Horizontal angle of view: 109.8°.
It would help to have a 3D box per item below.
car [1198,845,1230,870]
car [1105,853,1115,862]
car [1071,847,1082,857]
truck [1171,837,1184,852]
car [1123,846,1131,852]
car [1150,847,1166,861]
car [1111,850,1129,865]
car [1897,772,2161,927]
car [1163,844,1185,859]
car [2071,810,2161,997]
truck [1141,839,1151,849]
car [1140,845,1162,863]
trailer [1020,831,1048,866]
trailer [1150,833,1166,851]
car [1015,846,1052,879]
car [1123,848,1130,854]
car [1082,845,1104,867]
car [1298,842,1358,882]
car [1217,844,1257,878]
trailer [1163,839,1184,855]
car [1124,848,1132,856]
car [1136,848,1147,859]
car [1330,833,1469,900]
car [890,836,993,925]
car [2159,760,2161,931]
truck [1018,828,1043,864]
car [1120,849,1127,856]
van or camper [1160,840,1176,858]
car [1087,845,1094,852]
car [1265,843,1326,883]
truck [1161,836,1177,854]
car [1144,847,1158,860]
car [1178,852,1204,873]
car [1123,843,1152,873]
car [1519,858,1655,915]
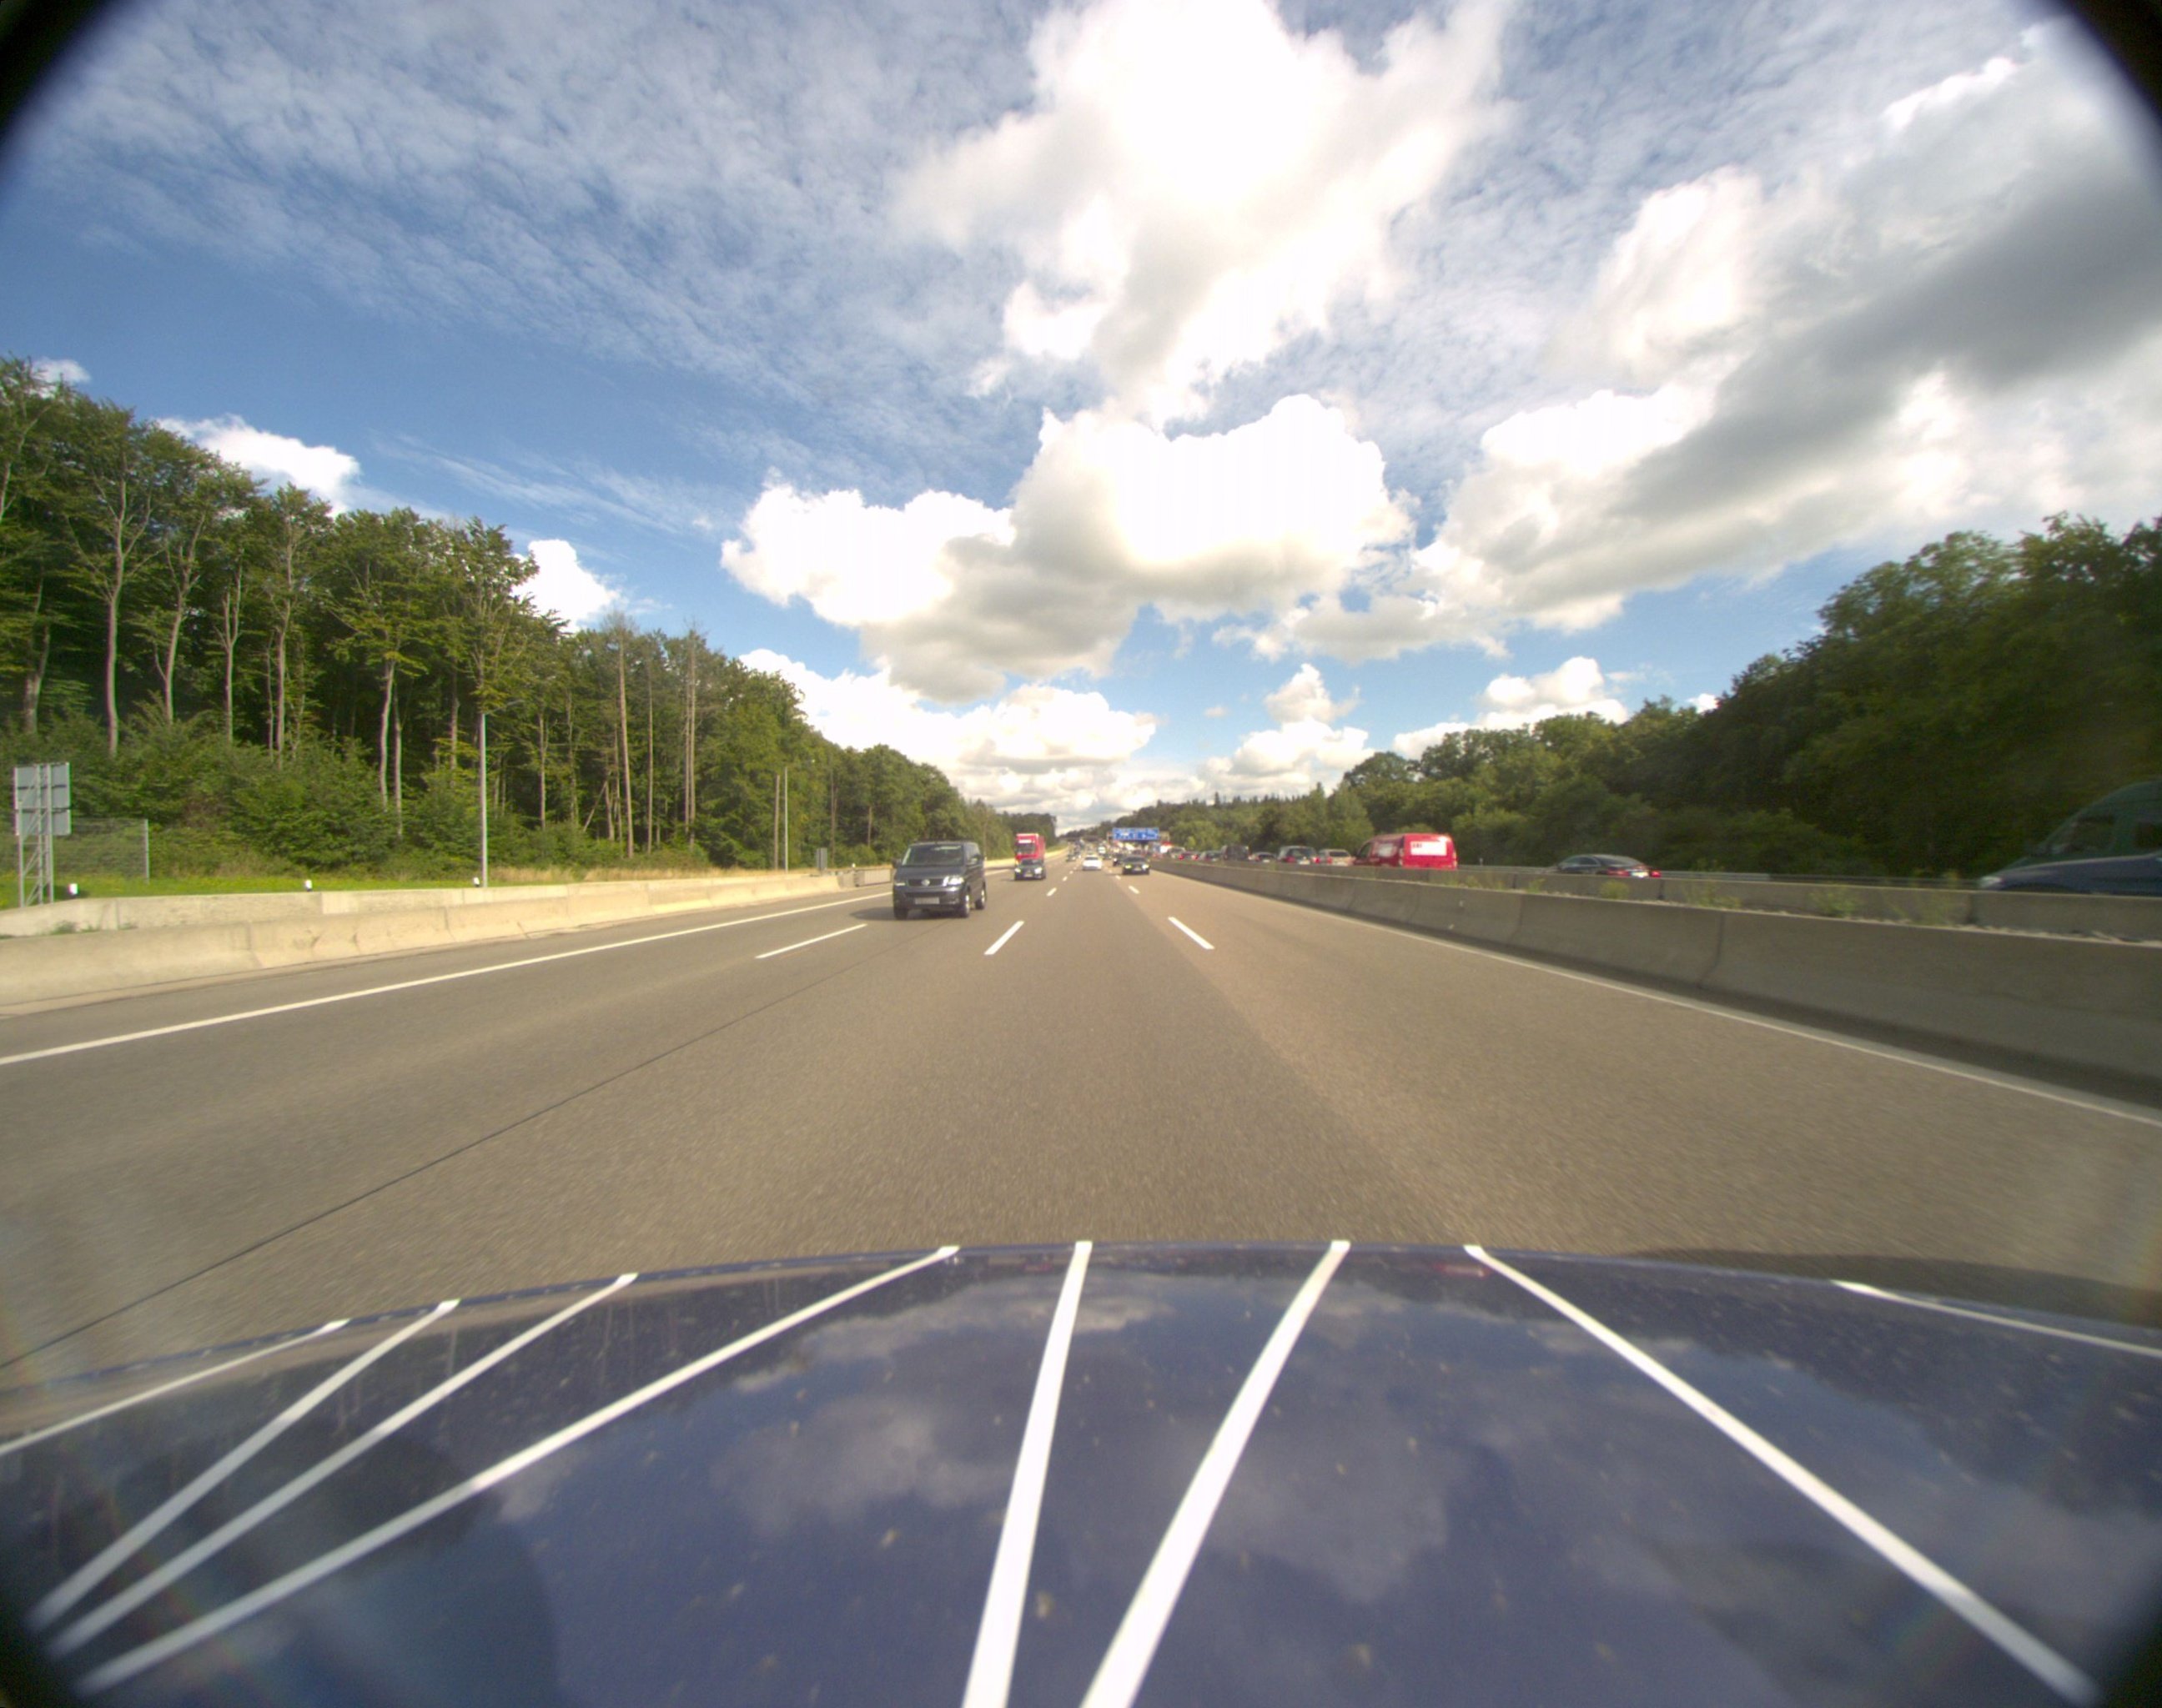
[{"bbox_3d":[10.863,0.237,62.366,1.998,1.749,4.457,-2,2,2],"label":"car"},{"bbox_3d":[5.793,0.655,153.199,1.804,1.783,3.757,-1,1,1],"label":"car"},{"bbox_3d":[-0.931,-0.373,145.294,1.911,1.582,4.285,-2,2,-2],"label":"car"},{"bbox_3d":[27.290,-2.713,215.257,2.819,4.127,5.450,-2,3,0],"label":"truck"},{"bbox_3d":[13.303,-1.401,219.040,1.998,1.733,4.294,-3,1,0],"label":"car"},{"bbox_3d":[11.198,-0.014,110.770,1.910,2.002,5.091,0,0,2],"label":"car"},{"bbox_3d":[4.606,0.416,90.649,1.911,1.582,4.286,-2,2,1],"label":"car"},{"bbox_3d":[17.477,-0.111,12.708,1.998,2.360,5.329,-2,0,2],"label":"car"},{"bbox_3d":[10.456,-0.325,85.298,1.998,1.563,4.815,-2,0,2],"label":"car"},{"bbox_3d":[9.945,0.393,4.288,1.998,1.563,5.207,-2,0,2],"label":"car"},{"bbox_3d":[19.905,-3.037,231.655,2.334,2.785,7.947,-3,1,1],"label":"truck"},{"bbox_3d":[7.512,0.003,81.502,1.998,1.909,4.000,-2,0,1],"label":"car"},{"bbox_3d":[-5.912,-0.889,97.299,2.531,4.097,14.372,-2,2,0],"label":"trailer"},{"bbox_3d":[20.543,-3.306,204.649,2.778,4.211,13.654,-2,2,0],"label":"trailer"},{"bbox_3d":[-3.051,0.519,49.505,1.998,2.002,4.000,-1,1,2],"label":"car"},{"bbox_3d":[12.191,-0.827,203.270,1.761,1.369,4.000,-1,0,0],"label":"car"},{"bbox_3d":[1.125,0.204,71.514,1.998,2.002,4.000,0,0,2],"label":"car"},{"bbox_3d":[13.879,0.413,42.956,1.998,2.003,4.457,1,2,2],"label":"car"},{"bbox_3d":[10.345,0.400,50.673,1.821,2.002,4.451,-2,2,2],"label":"car"},{"bbox_3d":[20.321,-1.586,168.150,2.735,3.316,14.217,-2,1,0],"label":"trailer"},{"bbox_3d":[12.324,-0.486,199.685,1.691,1.806,4.294,-2,2,0],"label":"car"},{"bbox_3d":[11.501,-0.121,145.717,1.691,1.806,4.294,-2,2,0],"label":"car"},{"bbox_3d":[9.467,0.320,23.143,1.881,1.752,5.293,-2,0,-1],"label":"car"},{"bbox_3d":[-3.723,0.608,21.152,1.927,2.153,4.960,-1,1,0],"label":"car"},{"bbox_3d":[13.605,-0.116,5.995,1.998,2.020,5.846,-2,0,2],"label":"car"},{"bbox_3d":[-5.960,-0.997,89.921,2.532,4.179,4.652,-2,2,1],"label":"truck"},{"bbox_3d":[12.236,-0.487,218.166,1.998,2.002,4.408,-1,2,1],"label":"car"},{"bbox_3d":[15.847,-0.882,139.057,2.144,3.154,6.243,-3,1,0],"label":"van or camper"},{"bbox_3d":[2.599,-1.444,199.701,1.804,1.865,3.950,-1,1,1],"label":"car"},{"bbox_3d":[10.602,0.412,37.860,1.862,1.753,4.458,-2,2,2],"label":"car"},{"bbox_3d":[20.241,-2.047,175.105,2.783,3.916,6.852,-2,1,0],"label":"truck"},{"bbox_3d":[11.146,-0.043,120.961,1.887,2.002,4.519,0,0,2],"label":"car"},{"bbox_3d":[10.771,0.810,74.789,1.998,1.894,4.458,-1,1,2],"label":"car"},{"bbox_3d":[4.069,0.255,55.232,1.919,2.002,4.000,-2,1,2],"label":"car"},{"bbox_3d":[17.997,1.079,27.346,1.998,1.752,4.459,-2,0,2],"label":"car"}]
